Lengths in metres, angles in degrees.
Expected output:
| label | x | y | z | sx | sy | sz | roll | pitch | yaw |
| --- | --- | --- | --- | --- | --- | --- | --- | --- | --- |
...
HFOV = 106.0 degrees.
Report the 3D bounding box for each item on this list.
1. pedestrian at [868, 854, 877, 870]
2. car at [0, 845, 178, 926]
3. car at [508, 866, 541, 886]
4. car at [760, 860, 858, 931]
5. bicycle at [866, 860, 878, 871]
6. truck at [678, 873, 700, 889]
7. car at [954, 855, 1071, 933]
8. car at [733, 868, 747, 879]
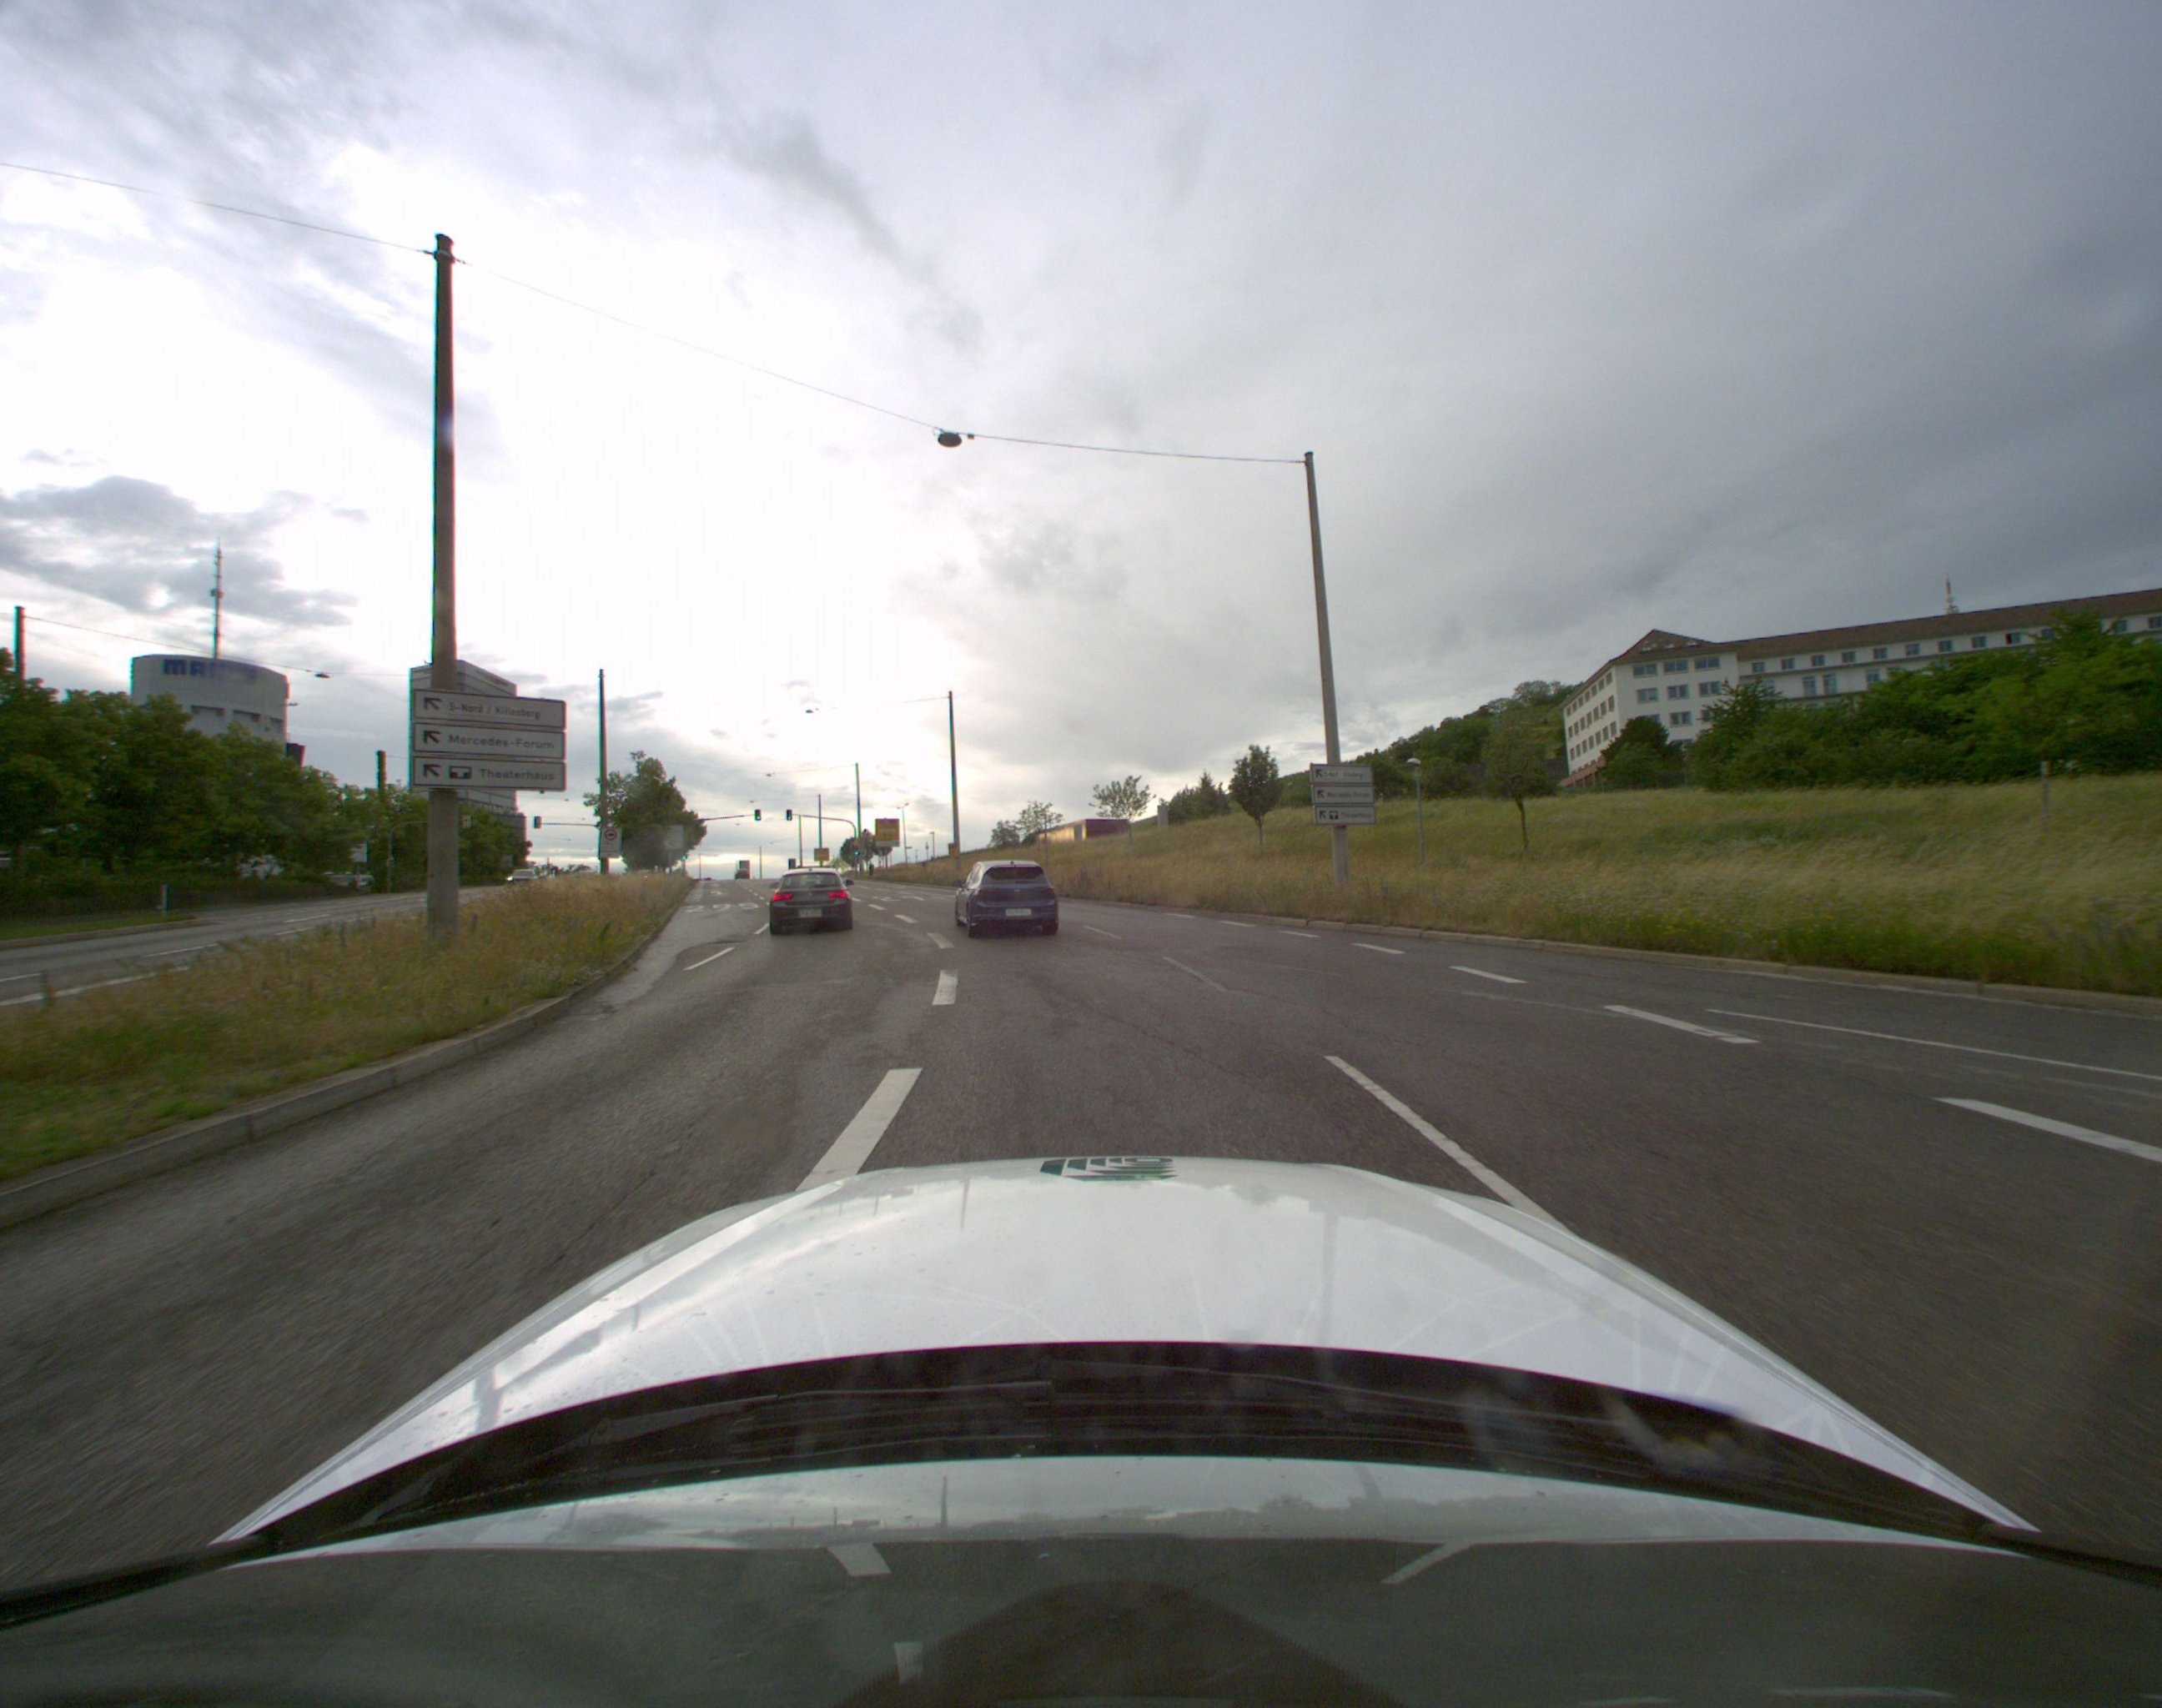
| label | x | y | z | sx | sy | sz | roll | pitch | yaw |
| --- | --- | --- | --- | --- | --- | --- | --- | --- | --- |
| pedestrian | -22.439 | 0.871 | 87.499 | 0.637 | 1.570 | 0.886 | -4 | 4 | -33 |
| car | -28.058 | 0.865 | 22.987 | 2.004 | 2.013 | 3.966 | -3 | 0 | -26 |
| car | -47.243 | 1.815 | 69.187 | 1.872 | 1.620 | 3.963 | 0 | -1 | -28 |
| car | -6.324 | 0.909 | 19.316 | 1.872 | 1.461 | 3.956 | -1 | -1 | -14 |
| bicycle | -22.473 | 1.232 | 87.613 | 0.637 | 1.104 | 1.735 | -5 | 5 | -33 |
| truck | -88.123 | 6.128 | 182.868 | 2.689 | 3.221 | 6.468 | 2 | -5 | -42 |
| car | -1.559 | 0.756 | 17.097 | 1.840 | 1.393 | 3.981 | -1 | 0 | -13 |
| car | -46.452 | 2.656 | 111.011 | 1.729 | 1.542 | 3.675 | 1 | -2 | -23 |
